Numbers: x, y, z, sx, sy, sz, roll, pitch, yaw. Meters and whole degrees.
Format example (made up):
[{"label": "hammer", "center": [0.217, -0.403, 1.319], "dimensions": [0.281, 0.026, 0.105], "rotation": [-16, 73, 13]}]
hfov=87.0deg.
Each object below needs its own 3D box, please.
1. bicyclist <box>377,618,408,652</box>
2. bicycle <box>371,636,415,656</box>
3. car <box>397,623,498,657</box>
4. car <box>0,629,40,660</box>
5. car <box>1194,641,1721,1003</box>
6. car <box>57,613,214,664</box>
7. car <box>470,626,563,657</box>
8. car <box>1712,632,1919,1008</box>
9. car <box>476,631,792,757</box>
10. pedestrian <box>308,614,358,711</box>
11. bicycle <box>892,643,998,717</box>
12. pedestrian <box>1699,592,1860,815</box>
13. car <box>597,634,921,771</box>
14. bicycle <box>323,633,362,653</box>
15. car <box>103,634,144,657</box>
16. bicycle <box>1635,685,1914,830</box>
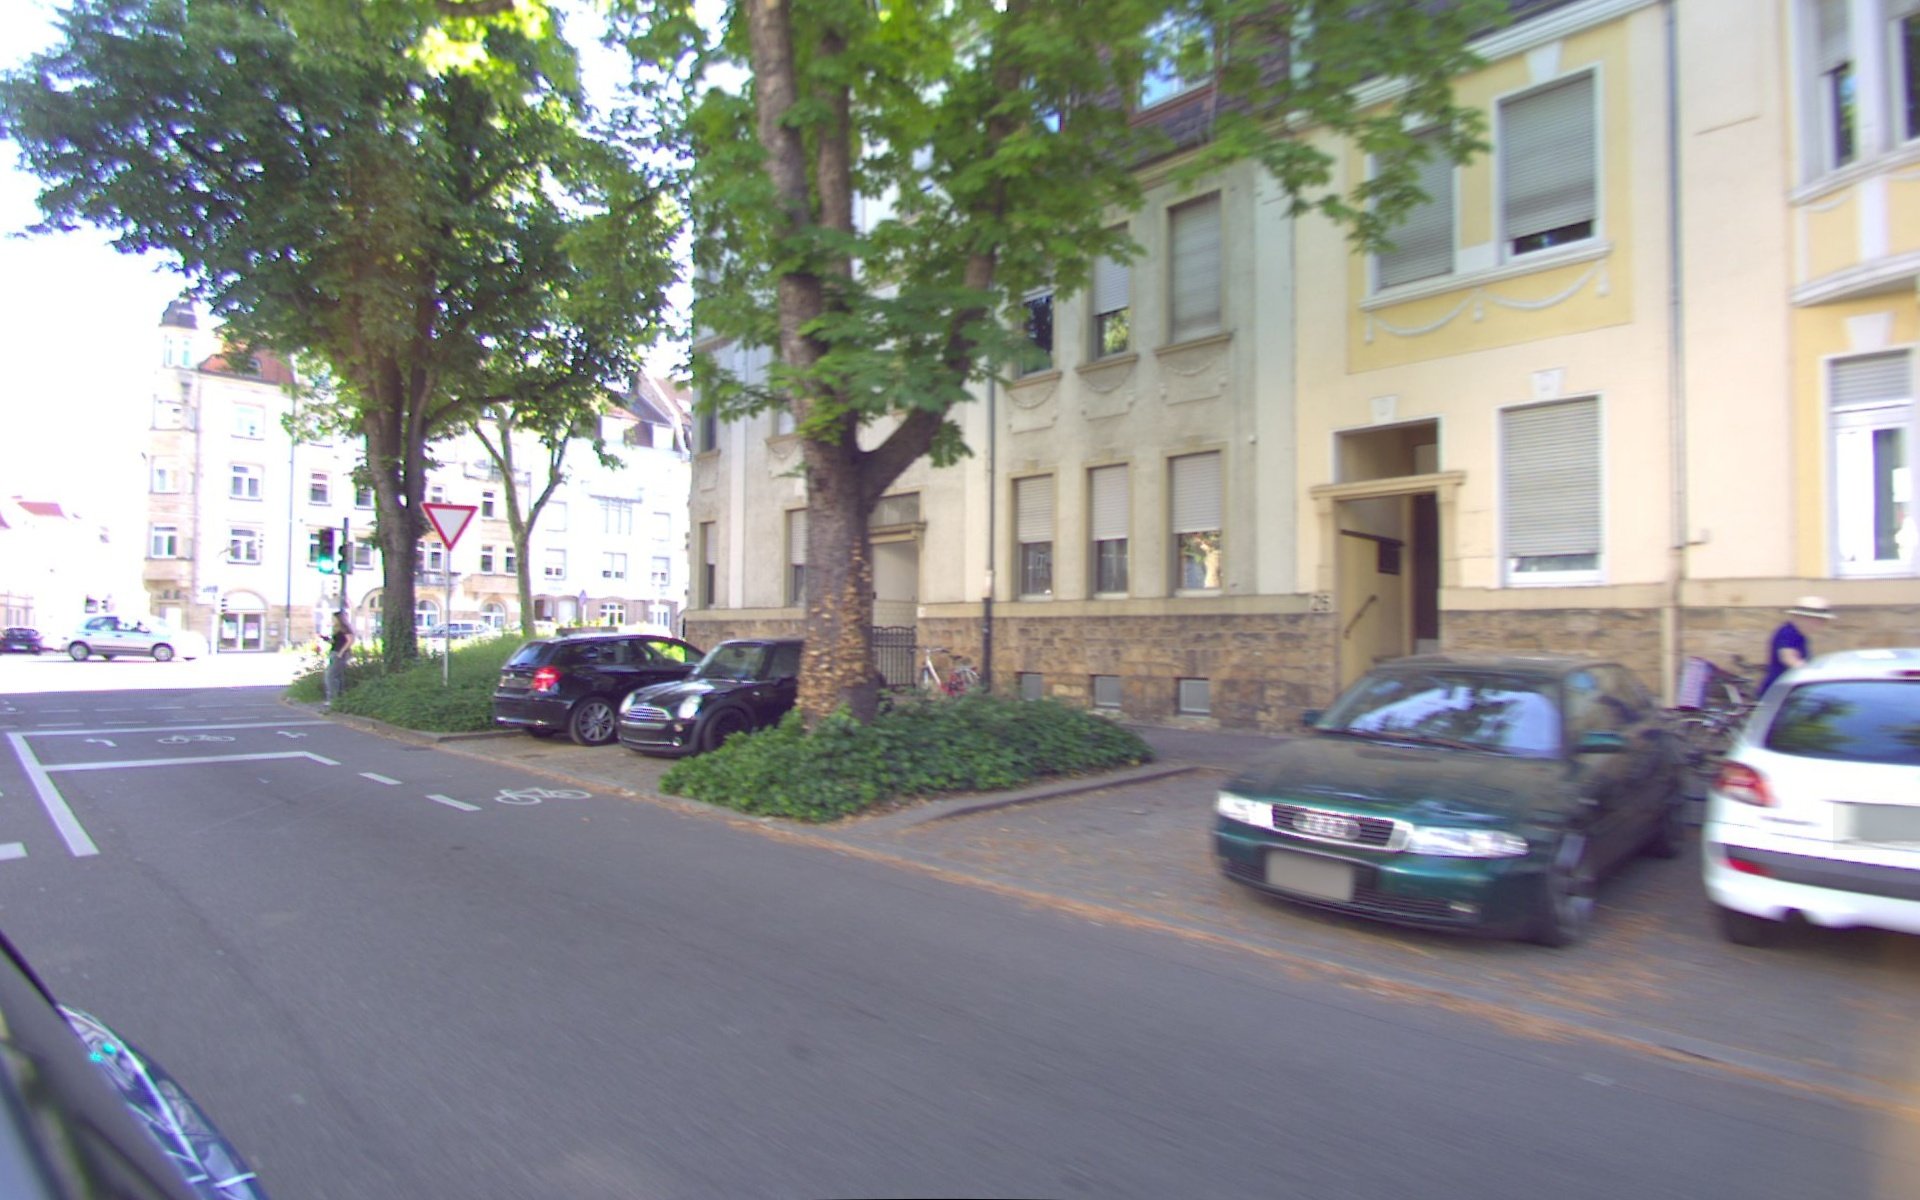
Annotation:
[{"label": "bicyclist", "center": [-26.409, 1.631, 47.070], "dimensions": [0.687, 1.554, 1.059], "rotation": [-2, -3, 43]}, {"label": "bicycle", "center": [-26.368, 2.129, 47.100], "dimensions": [0.795, 0.932, 1.614], "rotation": [-3, -4, 43]}, {"label": "car", "center": [-26.140, 2.065, 51.700], "dimensions": [2.000, 1.657, 4.180], "rotation": [-4, -5, 43]}, {"label": "car", "center": [-46.556, 2.151, 49.850], "dimensions": [1.641, 1.475, 3.810], "rotation": [3, -3, -45]}, {"label": "car", "center": [3.259, 0.970, 6.147], "dimensions": [1.704, 1.359, 4.165], "rotation": [-1, -1, 44]}, {"label": "car", "center": [-26.518, 1.259, 32.664], "dimensions": [3.558, 1.580, 1.656], "rotation": [1, -3, -8]}, {"label": "car", "center": [-22.492, 2.117, 51.381], "dimensions": [1.766, 1.541, 3.962], "rotation": [-2, -3, 43]}, {"label": "car", "center": [5.154, 0.912, 5.055], "dimensions": [3.393, 1.463, 1.705], "rotation": [1, -1, -44]}, {"label": "car", "center": [-4.386, 1.225, 14.031], "dimensions": [1.616, 1.487, 3.839], "rotation": [-1, -3, 44]}, {"label": "pedestrian", "center": [-11.254, 1.104, 18.172], "dimensions": [0.684, 1.695, 0.682], "rotation": [2, -3, -35]}, {"label": "bicycle", "center": [-0.282, 1.324, 17.081], "dimensions": [1.983, 1.163, 0.508], "rotation": [-3, -2, 45]}, {"label": "pedestrian", "center": [6.555, 0.792, 8.120], "dimensions": [0.454, 1.671, 0.896], "rotation": [2, -3, -38]}, {"label": "car", "center": [-2.332, 1.146, 12.581], "dimensions": [1.613, 1.426, 3.845], "rotation": [-1, -3, 38]}, {"label": "bicycle", "center": [-35.865, 2.526, 58.782], "dimensions": [0.610, 1.142, 1.785], "rotation": [-2, -3, 41]}, {"label": "car", "center": [-64.374, 3.480, 77.957], "dimensions": [1.887, 1.671, 4.358], "rotation": [-2, 0, -33]}, {"label": "bicycle", "center": [6.198, 1.155, 7.786], "dimensions": [0.466, 0.919, 1.600], "rotation": [2, -3, -39]}]
